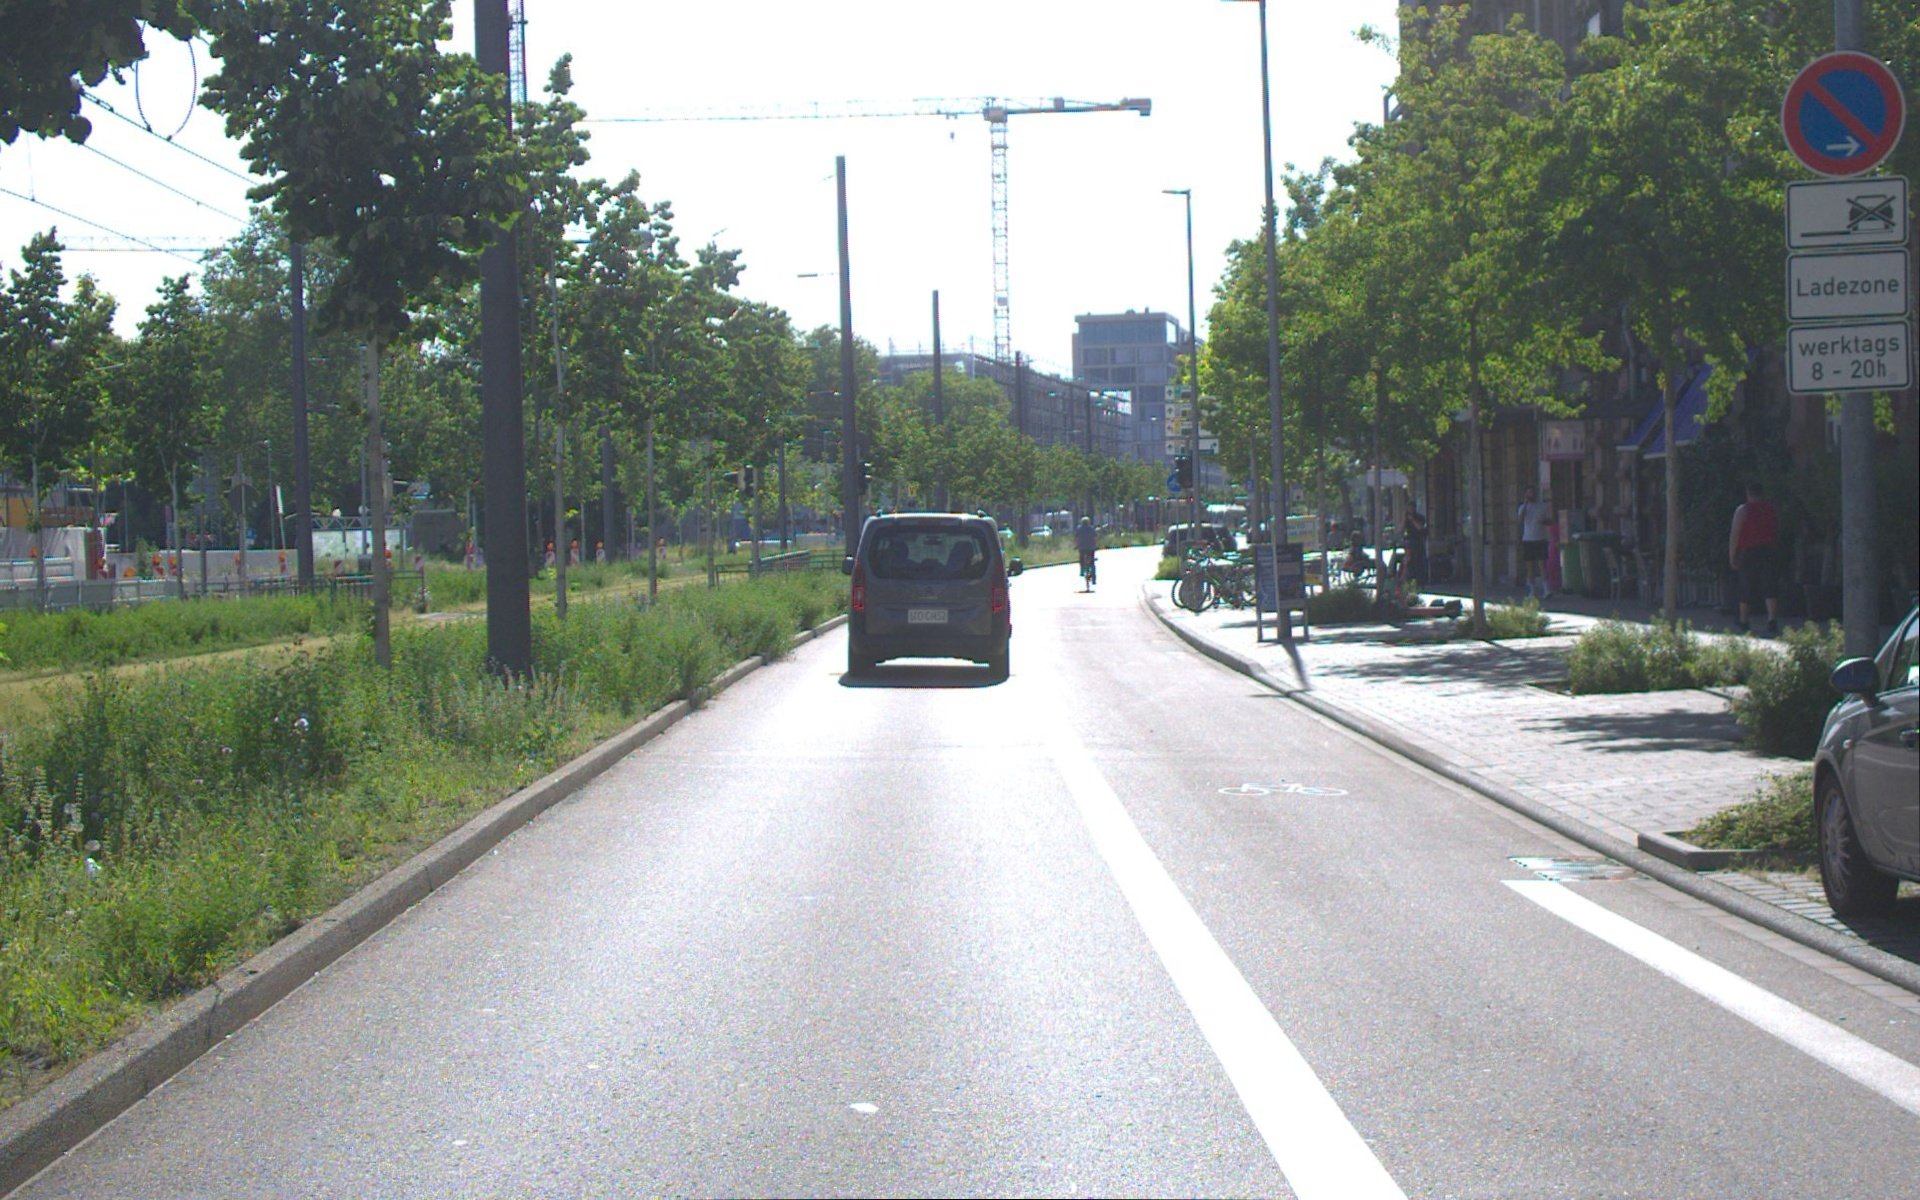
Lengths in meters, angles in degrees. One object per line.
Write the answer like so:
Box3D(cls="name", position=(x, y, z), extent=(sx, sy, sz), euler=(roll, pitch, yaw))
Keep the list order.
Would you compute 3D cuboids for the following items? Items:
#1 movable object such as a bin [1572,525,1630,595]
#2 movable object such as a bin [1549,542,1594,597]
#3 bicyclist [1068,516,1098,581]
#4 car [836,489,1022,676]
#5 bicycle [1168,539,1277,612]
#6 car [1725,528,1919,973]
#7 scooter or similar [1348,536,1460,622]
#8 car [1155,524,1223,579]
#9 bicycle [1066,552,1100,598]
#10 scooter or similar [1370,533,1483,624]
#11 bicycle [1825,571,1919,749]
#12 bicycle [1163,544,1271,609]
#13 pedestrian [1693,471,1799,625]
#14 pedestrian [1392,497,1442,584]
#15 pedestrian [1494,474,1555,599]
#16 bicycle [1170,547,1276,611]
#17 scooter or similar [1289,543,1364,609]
Box3D(cls="movable object such as a bin", position=(10.249, -0.647, 54.980), extent=(0.725, 1.094, 0.748), euler=(-1, 1, -4))
Box3D(cls="movable object such as a bin", position=(10.361, -0.527, 58.278), extent=(0.604, 0.913, 0.650), euler=(-1, 1, -4))
Box3D(cls="bicyclist", position=(3.009, -1.261, 84.039), extent=(0.683, 1.579, 0.840), euler=(-1, 1, -1))
Box3D(cls="car", position=(-0.382, -0.199, 38.955), extent=(1.993, 2.007, 4.000), euler=(0, 0, -1))
Box3D(cls="bicycle", position=(4.821, -0.453, 63.235), extent=(1.878, 1.229, 0.500), euler=(-4, 1, -5))
Box3D(cls="car", position=(4.284, 0.481, 12.607), extent=(1.884, 1.564, 4.220), euler=(-3, 0, -1))
Box3D(cls="scooter or similar", position=(6.507, -0.310, 50.394), extent=(1.473, 1.212, 0.602), euler=(1, 1, -10))
Box3D(cls="car", position=(7.035, -1.465, 105.395), extent=(1.989, 1.632, 4.189), euler=(0, 0, 5))
Box3D(cls="bicycle", position=(3.001, -0.628, 84.014), extent=(0.701, 1.087, 2.277), euler=(0, 1, -1))
Box3D(cls="scooter or similar", position=(6.727, -0.317, 49.631), extent=(1.473, 1.212, 0.602), euler=(-3, 2, -4))
Box3D(cls="bicycle", position=(6.372, 0.378, 22.472), extent=(0.650, 1.116, 2.173), euler=(-2, 0, -6))
Box3D(cls="bicycle", position=(4.956, -0.455, 66.286), extent=(1.915, 1.117, 0.665), euler=(-4, 1, -6))
Box3D(cls="pedestrian", position=(8.926, -0.589, 39.054), extent=(0.996, 1.725, 0.866), euler=(0, 0, -1))
Box3D(cls="pedestrian", position=(9.259, -1.203, 69.719), extent=(0.844, 1.736, 0.886), euler=(-2, 0, 1))
Box3D(cls="pedestrian", position=(9.248, -1.036, 56.346), extent=(0.817, 2.007, 1.046), euler=(0, -2, 0))
Box3D(cls="bicycle", position=(4.947, -0.401, 64.770), extent=(1.824, 1.075, 0.665), euler=(-4, 1, -6))
Box3D(cls="scooter or similar", position=(6.429, -0.426, 60.376), extent=(1.220, 1.102, 0.783), euler=(-2, 2, 3))
